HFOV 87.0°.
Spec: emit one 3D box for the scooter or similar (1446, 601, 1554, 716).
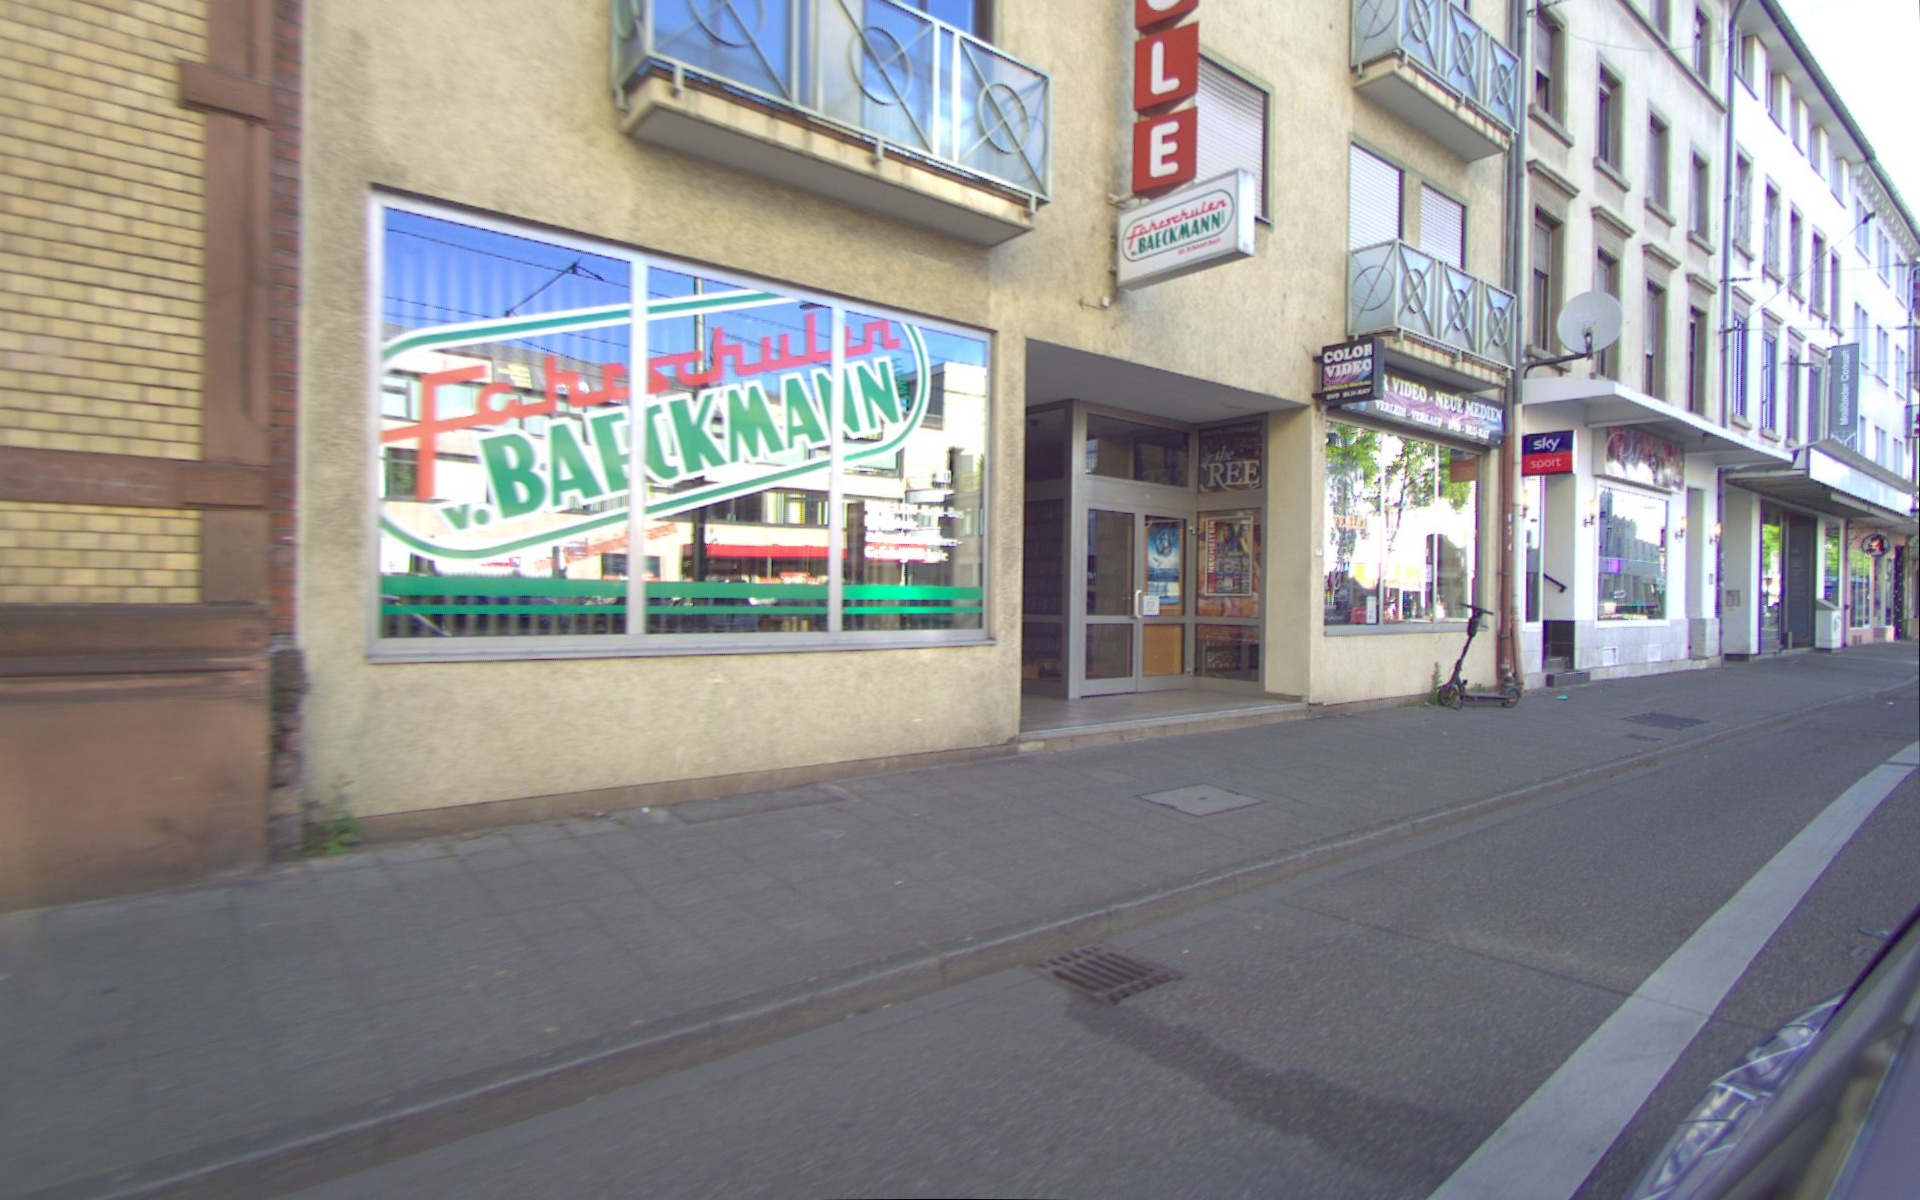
[{"bbox_3d":[6.325,0.662,11.843,1.257,1.297,0.412,0,0,-23],"label":"scooter or similar"}]
